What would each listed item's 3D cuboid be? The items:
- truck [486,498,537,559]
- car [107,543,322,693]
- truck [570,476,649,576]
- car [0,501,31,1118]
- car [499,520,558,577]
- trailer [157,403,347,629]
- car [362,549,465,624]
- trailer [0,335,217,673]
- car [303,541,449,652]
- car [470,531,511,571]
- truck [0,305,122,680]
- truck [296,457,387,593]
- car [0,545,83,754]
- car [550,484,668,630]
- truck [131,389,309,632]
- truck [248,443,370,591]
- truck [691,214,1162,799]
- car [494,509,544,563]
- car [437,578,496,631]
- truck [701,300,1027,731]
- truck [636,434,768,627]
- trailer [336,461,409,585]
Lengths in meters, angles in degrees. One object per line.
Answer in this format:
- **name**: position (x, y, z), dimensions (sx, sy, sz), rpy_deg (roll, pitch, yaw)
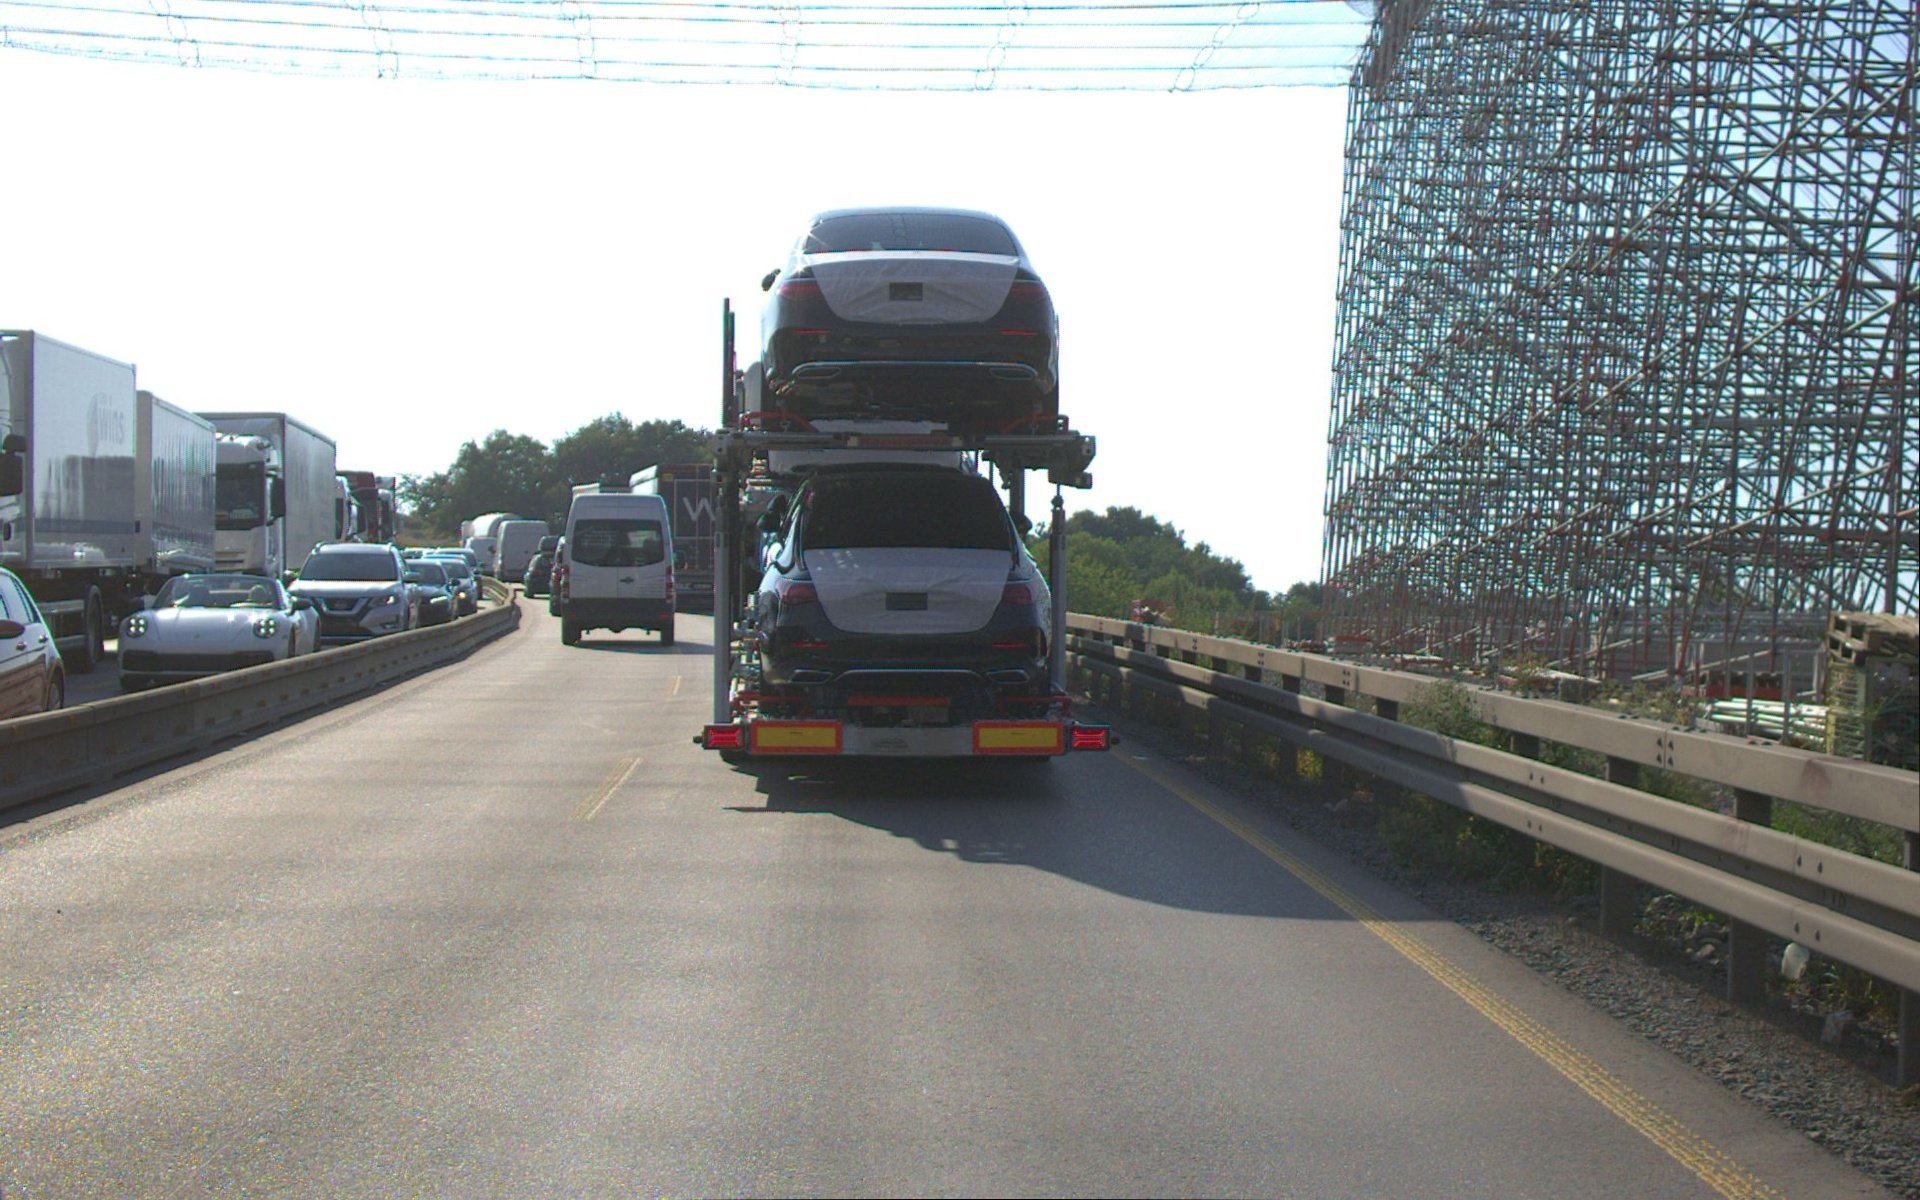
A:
- **truck**: position (-24.078, -3.823, 184.479), dimensions (2.590, 3.159, 6.678), rpy_deg (1, 1, -8)
- **car**: position (-8.286, 0.166, 38.536), dimensions (1.808, 1.563, 4.367), rpy_deg (1, 1, -5)
- **truck**: position (-13.372, -2.772, 130.621), dimensions (2.530, 3.635, 8.908), rpy_deg (1, 1, -9)
- **car**: position (-3.320, 0.547, 7.106), dimensions (1.691, 1.590, 4.000), rpy_deg (1, 1, 0)
- **car**: position (-13.949, -1.659, 111.294), dimensions (1.826, 1.766, 4.001), rpy_deg (1, 1, -7)
- **trailer**: position (-13.709, -1.557, 67.509), dimensions (2.427, 3.949, 14.102), rpy_deg (1, 1, -7)
- **car**: position (-10.957, -0.287, 69.191), dimensions (1.777, 1.445, 4.664), rpy_deg (1, 1, -6)
- **trailer**: position (-12.450, -1.223, 47.477), dimensions (2.669, 4.002, 13.336), rpy_deg (1, 1, -5)
- **car**: position (-8.718, -0.074, 51.614), dimensions (1.808, 1.563, 4.367), rpy_deg (1, 1, -5)
- **car**: position (-21.908, -2.286, 160.346), dimensions (1.837, 1.829, 4.001), rpy_deg (1, 1, -8)
- **truck**: position (-11.501, -1.168, 39.188), dimensions (2.630, 3.896, 7.206), rpy_deg (1, 1, -4)
- **truck**: position (-17.686, -2.117, 98.464), dimensions (2.432, 3.772, 5.619), rpy_deg (1, 0, -9)
- **car**: position (-7.469, 0.314, 24.168), dimensions (1.808, 1.415, 4.519), rpy_deg (1, 1, -5)
- **car**: position (-6.329, -0.764, 61.572), dimensions (1.920, 2.484, 5.410), rpy_deg (1, 1, -7)
- **truck**: position (-12.950, -1.529, 60.498), dimensions (2.473, 4.032, 5.619), rpy_deg (1, 0, -6)
- **truck**: position (-15.390, -1.929, 81.531), dimensions (2.413, 3.358, 5.619), rpy_deg (1, 1, -7)
- **truck**: position (-0.527, -0.608, 26.002), dimensions (2.799, 3.485, 10.607), rpy_deg (1, 1, -4)
- **car**: position (-16.757, -2.413, 130.570), dimensions (1.629, 2.007, 4.001), rpy_deg (1, 1, -11)
- **car**: position (-15.392, 0.116, 107.080), dimensions (1.750, 1.581, 3.944), rpy_deg (1, 1, -9)
- **truck**: position (-1.152, -0.793, 35.416), dimensions (2.837, 3.779, 9.988), rpy_deg (1, 1, -4)
- **truck**: position (-7.520, -1.956, 99.013), dimensions (3.285, 5.219, 9.938), rpy_deg (1, 1, -7)
- **trailer**: position (-21.510, -2.746, 125.581), dimensions (2.475, 4.314, 10.514), rpy_deg (1, 1, -10)
